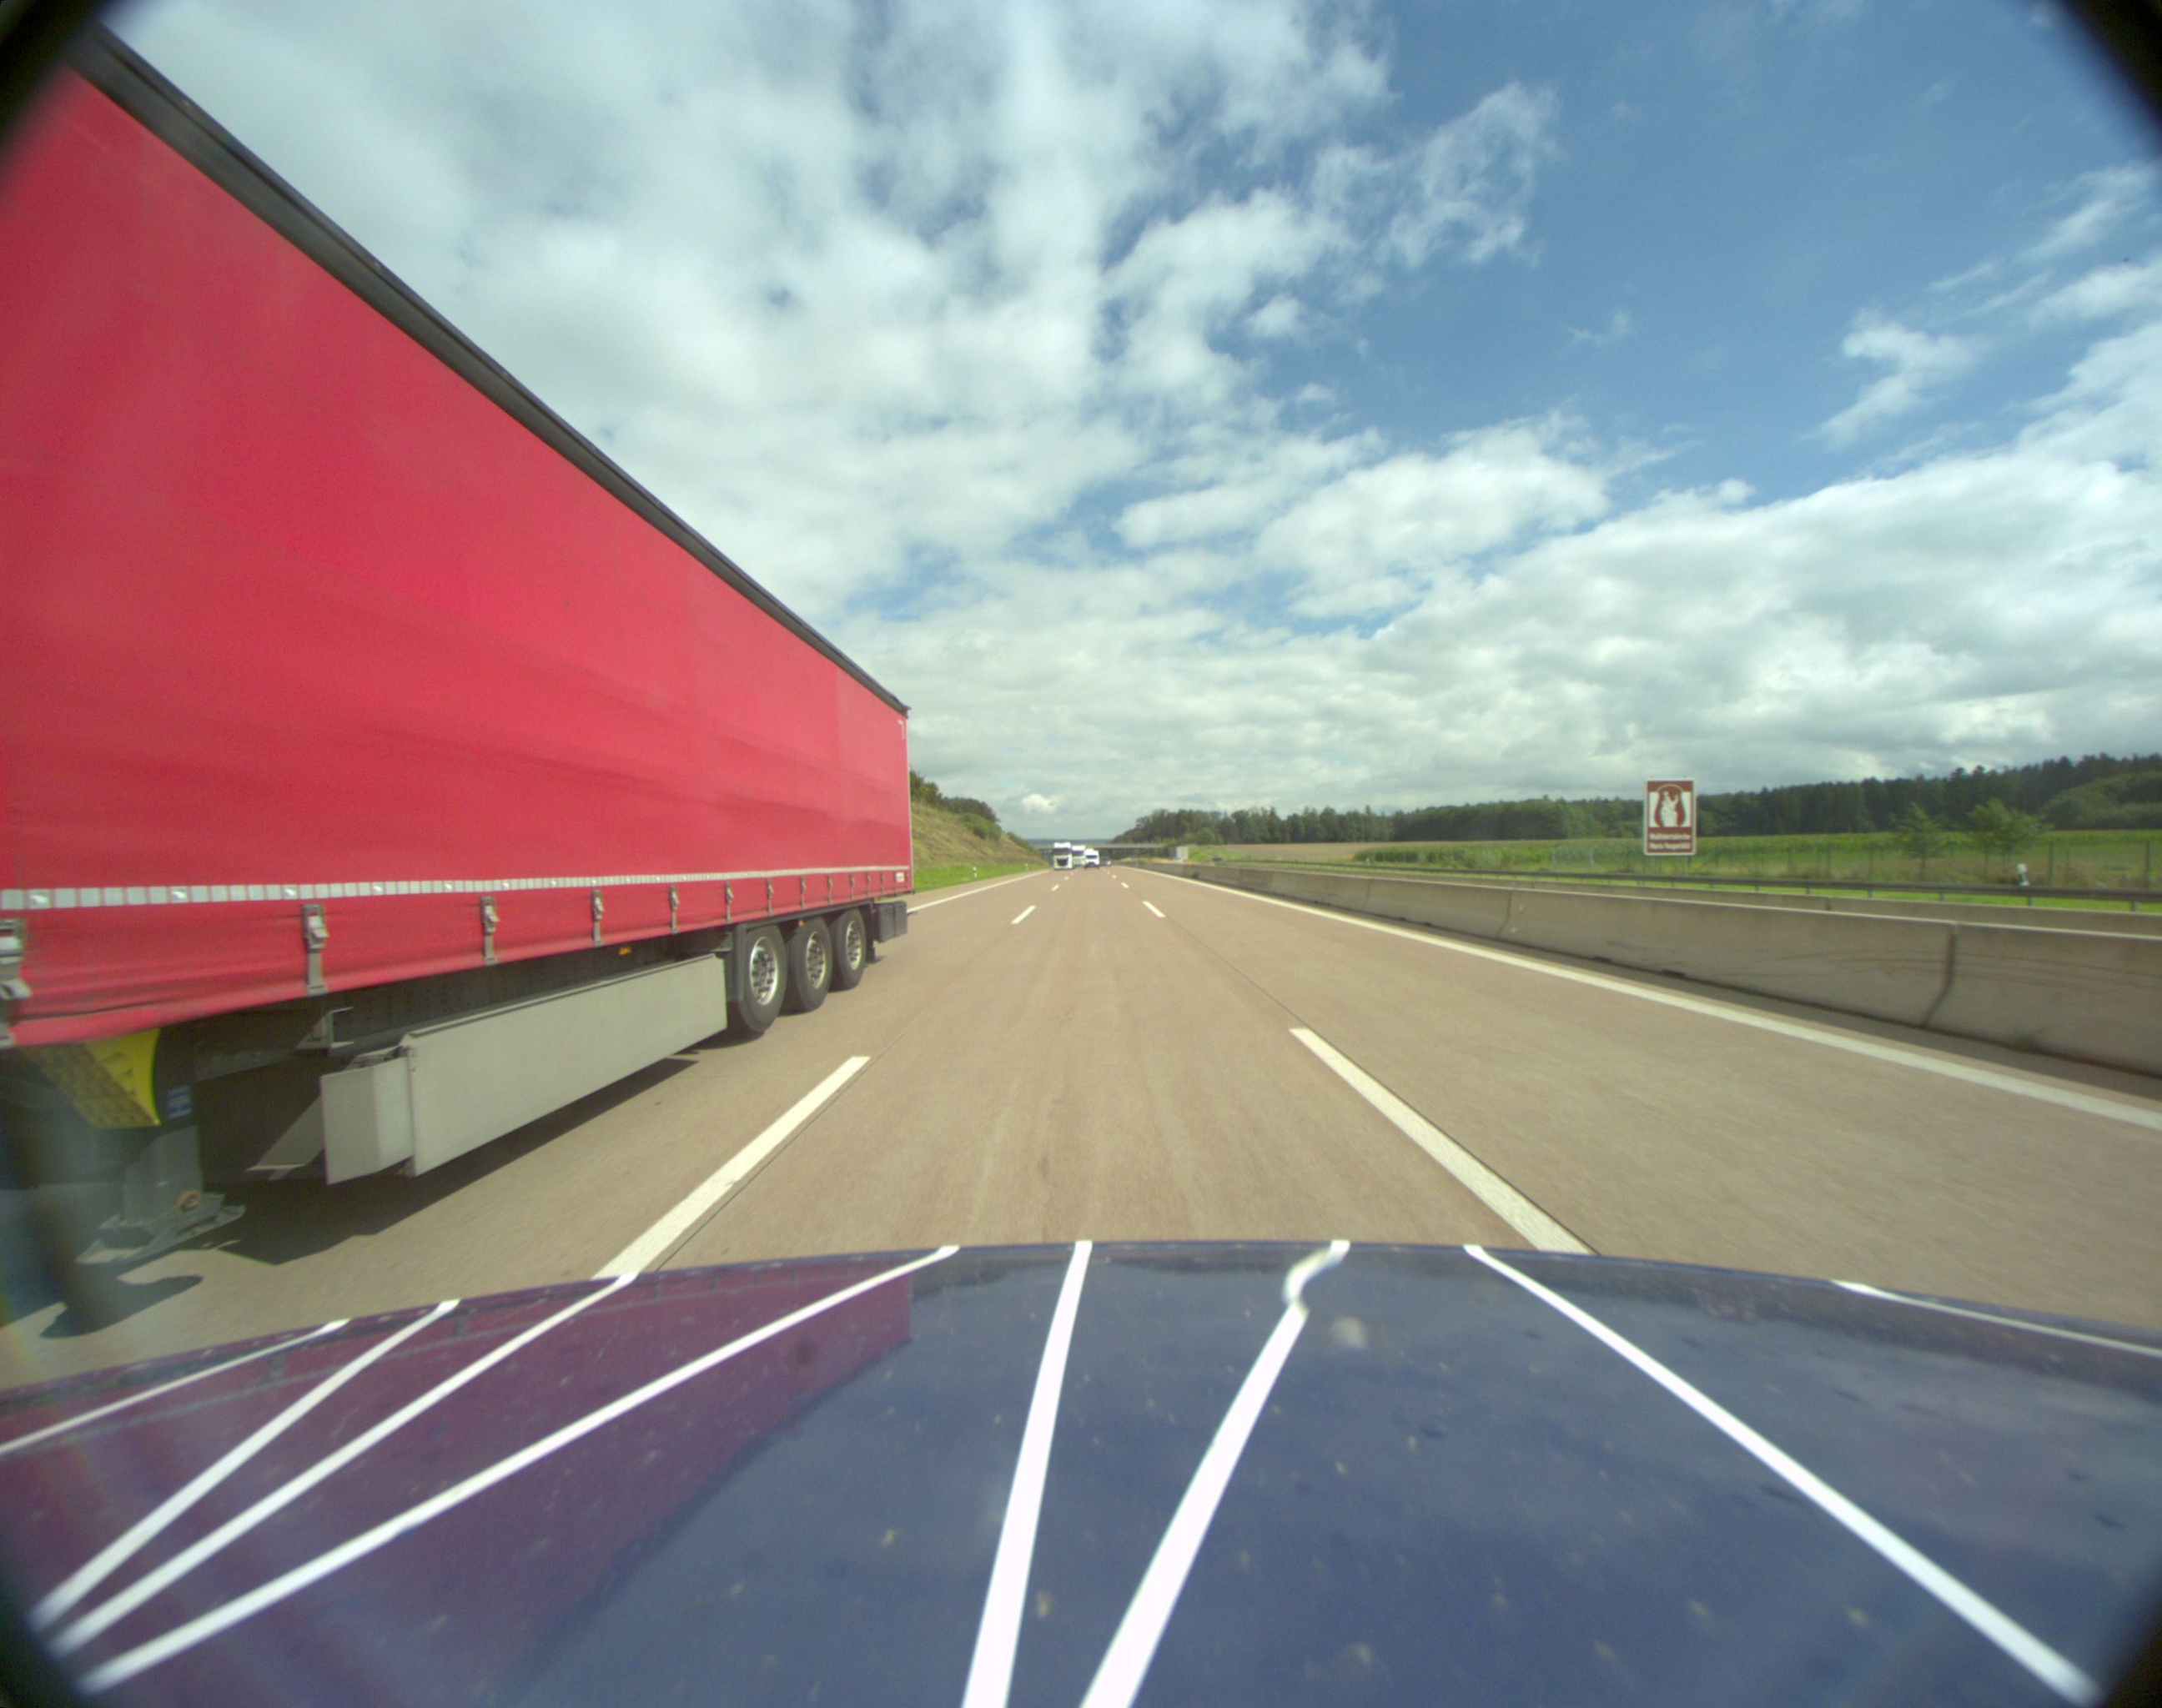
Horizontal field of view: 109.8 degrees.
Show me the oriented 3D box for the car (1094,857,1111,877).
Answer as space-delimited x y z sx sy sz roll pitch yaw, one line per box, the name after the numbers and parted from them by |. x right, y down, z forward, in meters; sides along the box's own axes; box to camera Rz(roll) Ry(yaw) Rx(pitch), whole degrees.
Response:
3.940 2.353 138.316 2.773 3.261 6.392 -2 1 2 | car

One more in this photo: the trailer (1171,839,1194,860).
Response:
22.657 -0.977 169.871 3.413 4.549 13.870 -1 0 1 | trailer

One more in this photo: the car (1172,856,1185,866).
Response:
18.260 1.367 142.313 1.999 1.850 4.000 -1 0 0 | car

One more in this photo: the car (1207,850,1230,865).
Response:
17.218 0.433 95.305 1.999 1.850 4.195 -1 0 0 | car

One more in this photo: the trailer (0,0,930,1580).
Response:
-3.945 -0.278 5.993 2.679 4.070 12.788 -2 0 1 | trailer

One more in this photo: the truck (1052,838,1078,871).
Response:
-2.238 0.031 109.195 3.107 4.334 11.255 -2 0 1 | truck

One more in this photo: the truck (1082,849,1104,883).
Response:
1.674 1.554 106.922 2.681 4.334 11.807 -2 0 1 | truck

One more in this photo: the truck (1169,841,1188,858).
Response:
22.825 -1.004 178.298 3.419 3.801 7.465 -1 0 1 | truck

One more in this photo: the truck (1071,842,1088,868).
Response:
-0.229 0.142 143.941 2.927 4.659 11.807 -2 0 1 | truck
